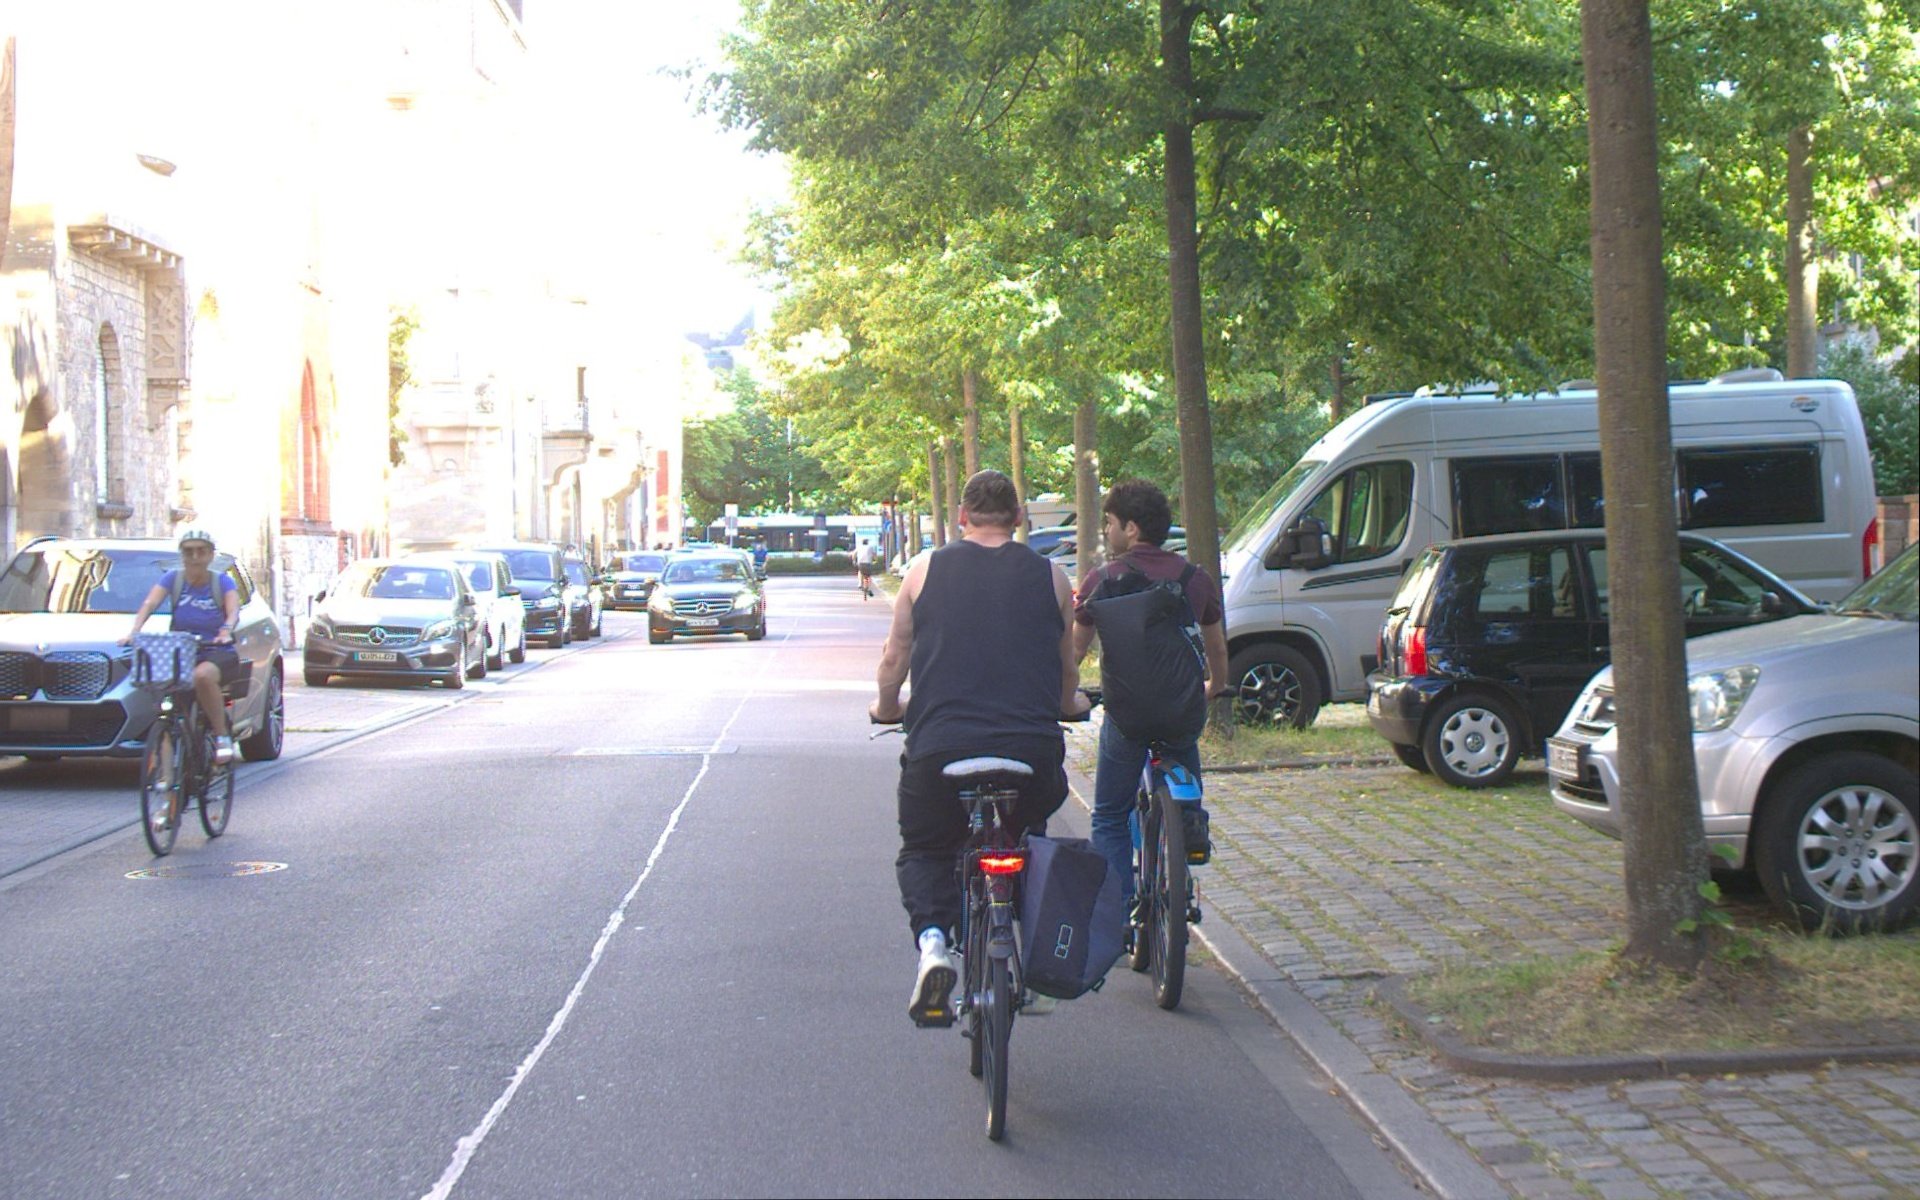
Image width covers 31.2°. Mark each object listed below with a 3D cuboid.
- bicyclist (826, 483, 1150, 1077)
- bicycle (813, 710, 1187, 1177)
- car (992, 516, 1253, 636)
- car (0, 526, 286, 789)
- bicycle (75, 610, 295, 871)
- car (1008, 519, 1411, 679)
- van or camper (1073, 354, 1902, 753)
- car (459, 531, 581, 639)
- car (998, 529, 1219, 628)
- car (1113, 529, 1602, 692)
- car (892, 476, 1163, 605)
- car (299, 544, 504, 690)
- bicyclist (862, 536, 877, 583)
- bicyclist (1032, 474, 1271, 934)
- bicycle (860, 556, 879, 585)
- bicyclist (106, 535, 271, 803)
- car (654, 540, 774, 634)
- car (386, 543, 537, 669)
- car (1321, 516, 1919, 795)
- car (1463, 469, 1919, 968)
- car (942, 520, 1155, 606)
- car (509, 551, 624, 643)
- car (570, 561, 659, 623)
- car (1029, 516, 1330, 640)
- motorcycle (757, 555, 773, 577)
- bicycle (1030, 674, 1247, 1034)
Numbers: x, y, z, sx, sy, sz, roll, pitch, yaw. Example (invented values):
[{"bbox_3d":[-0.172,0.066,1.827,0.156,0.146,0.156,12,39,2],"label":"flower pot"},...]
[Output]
[{"bbox_3d":[0.056,0.461,9.367,0.706,1.521,0.972,-1,0,-9],"label":"bicyclist"},{"bbox_3d":[0.059,0.867,9.380,0.696,1.069,1.969,-1,0,-9],"label":"bicycle"},{"bbox_3d":[2.709,-0.397,57.983,4.243,1.833,1.855,-2,0,-1],"label":"car"},{"bbox_3d":[-5.945,0.369,23.556,2.049,1.616,4.396,-1,0,-4],"label":"car"},{"bbox_3d":[-4.039,0.689,18.101,0.753,1.174,2.621,-2,2,-5],"label":"bicycle"},{"bbox_3d":[2.764,-0.014,38.688,4.242,1.600,1.754,-2,0,-5],"label":"car"},{"bbox_3d":[3.775,-0.334,25.380,5.573,2.528,2.269,-3,0,-3],"label":"van or camper"},{"bbox_3d":[-7.004,-0.227,54.988,1.630,1.660,3.969,-1,0,-3],"label":"car"},{"bbox_3d":[2.937,-0.426,68.626,4.243,1.791,1.855,-2,0,-1],"label":"car"},{"bbox_3d":[3.808,0.096,33.469,4.502,1.448,1.816,-1,0,0],"label":"car"},{"bbox_3d":[1.843,-1.621,95.305,7.332,3.271,2.223,-2,0,0],"label":"car"},{"bbox_3d":[-6.402,0.176,39.784,1.755,1.512,4.115,3,0,-2],"label":"car"},{"bbox_3d":[-2.637,-1.179,99.721,0.417,1.346,0.430,-1,0,-2],"label":"bicyclist"},{"bbox_3d":[0.648,0.346,11.921,0.718,1.521,0.972,-1,0,-3],"label":"bicyclist"},{"bbox_3d":[-2.633,-0.858,99.851,0.541,0.825,1.919,0,0,-2],"label":"bicycle"},{"bbox_3d":[-4.038,0.341,18.057,0.665,1.340,1.060,-2,1,-5],"label":"bicyclist"},{"bbox_3d":[-4.125,-0.197,57.198,1.896,1.481,4.382,-1,0,-5],"label":"car"},{"bbox_3d":[-6.536,0.061,45.380,1.491,1.512,3.775,3,0,-2],"label":"car"},{"bbox_3d":[4.024,0.305,20.272,3.500,1.467,1.752,-2,0,-3],"label":"car"},{"bbox_3d":[4.378,0.302,13.152,4.475,1.664,1.943,-3,2,-3],"label":"car"},{"bbox_3d":[1.999,-0.829,78.598,4.757,1.774,1.855,-2,0,0],"label":"car"},{"bbox_3d":[-6.899,-0.059,60.568,1.615,1.477,4.019,3,0,-2],"label":"car"},{"bbox_3d":[-8.620,-0.196,86.048,1.993,1.481,4.000,-1,0,-3],"label":"car"},{"bbox_3d":[3.187,-0.314,50.583,4.243,1.642,1.855,-2,0,-1],"label":"car"},{"bbox_3d":[-7.261,-1.259,127.829,0.551,0.798,1.308,-1,1,-4],"label":"motorcycle"},{"bbox_3d":[0.589,0.831,11.943,0.555,1.069,1.969,-1,1,-3],"label":"bicycle"}]
